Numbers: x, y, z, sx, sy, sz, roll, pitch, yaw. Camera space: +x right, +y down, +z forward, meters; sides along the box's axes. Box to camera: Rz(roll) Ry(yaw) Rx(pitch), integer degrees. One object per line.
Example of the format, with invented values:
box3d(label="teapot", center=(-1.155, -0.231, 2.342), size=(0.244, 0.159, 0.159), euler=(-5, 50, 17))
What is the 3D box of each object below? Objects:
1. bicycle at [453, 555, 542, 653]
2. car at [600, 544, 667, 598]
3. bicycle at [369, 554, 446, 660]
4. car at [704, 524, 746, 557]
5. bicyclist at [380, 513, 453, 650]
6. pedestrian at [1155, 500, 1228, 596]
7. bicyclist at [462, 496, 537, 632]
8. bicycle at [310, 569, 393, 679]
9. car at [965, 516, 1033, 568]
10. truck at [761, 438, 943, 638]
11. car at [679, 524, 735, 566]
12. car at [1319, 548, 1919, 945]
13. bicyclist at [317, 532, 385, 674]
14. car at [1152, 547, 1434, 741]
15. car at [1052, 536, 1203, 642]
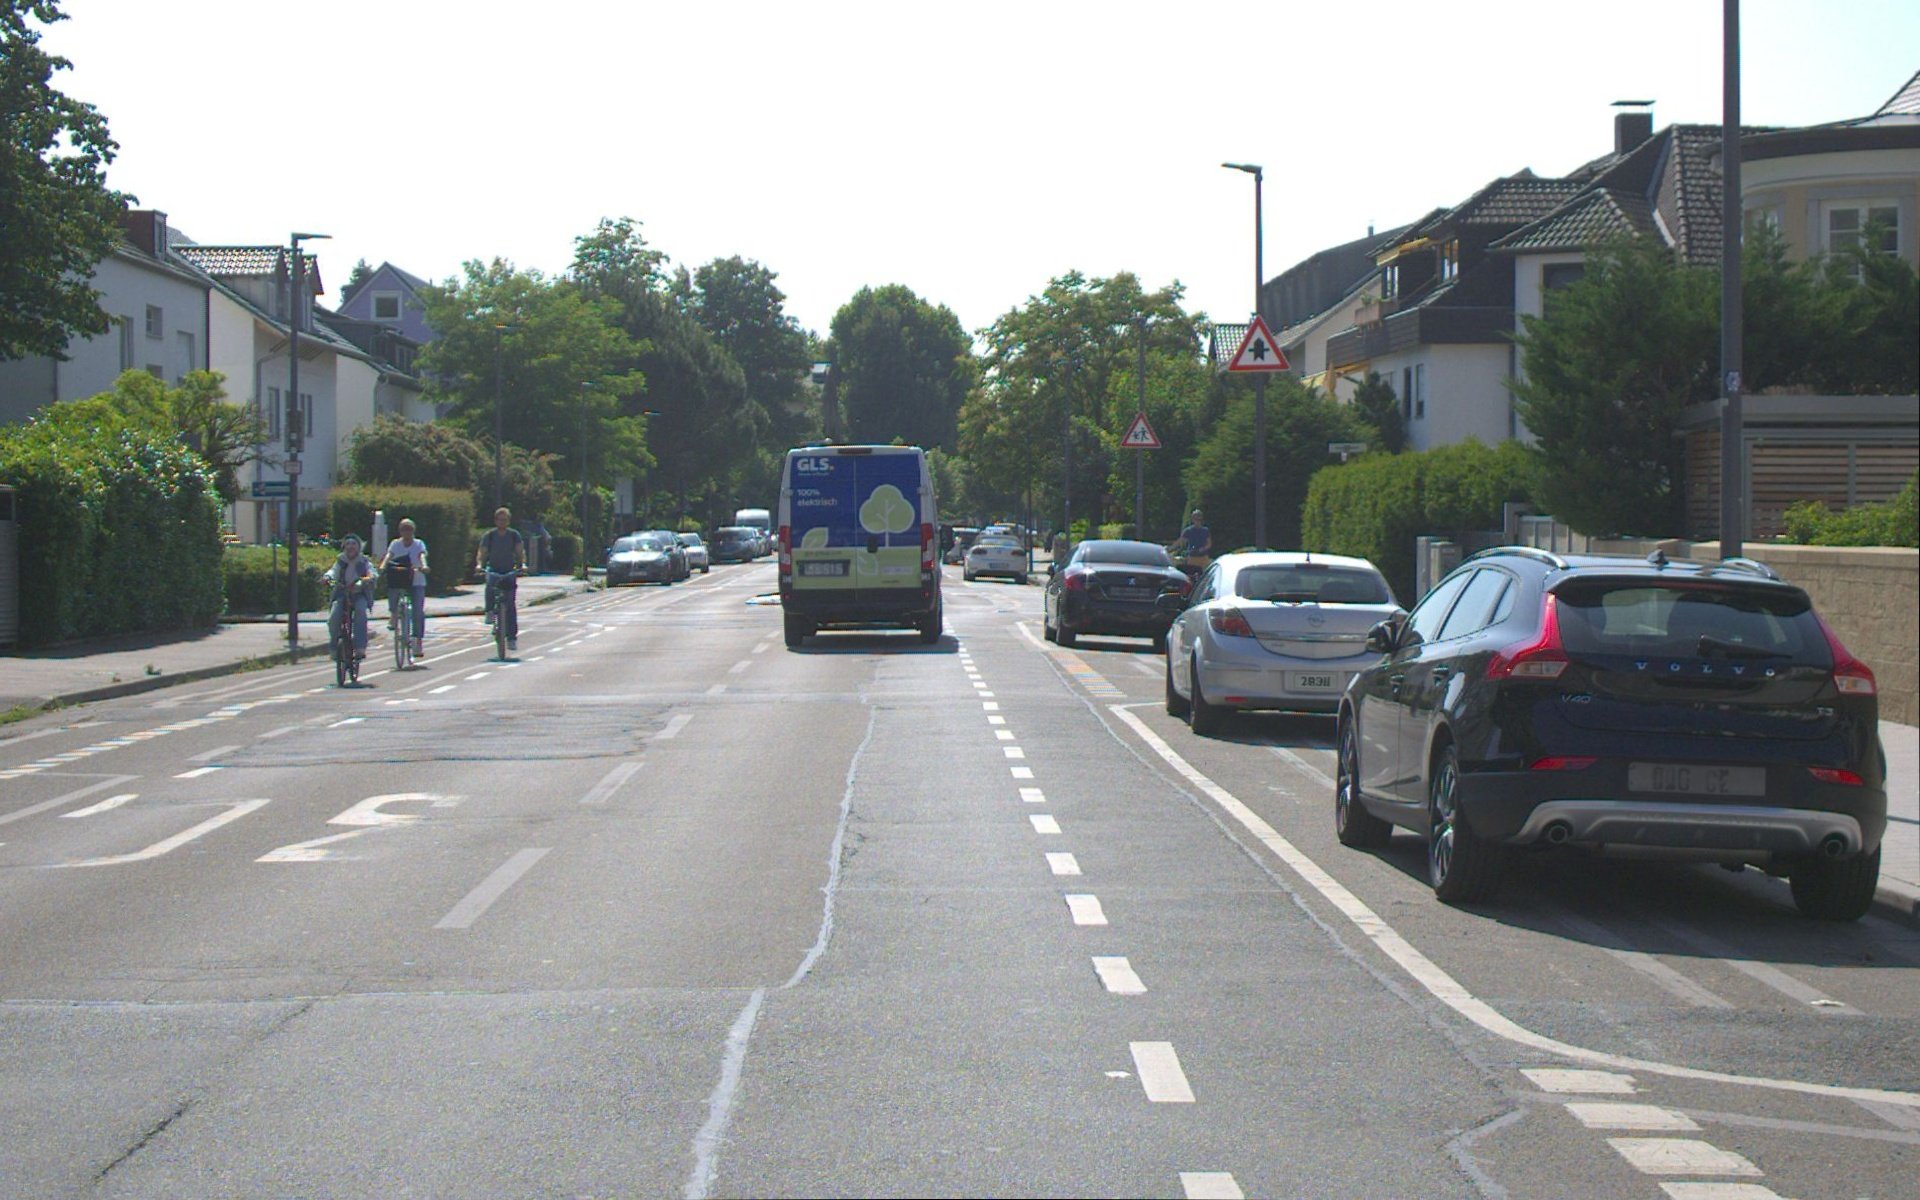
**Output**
box3d(label="bicycle", center=(-5.809, 0.037, 43.288), size=(0.782, 1.162, 2.420), euler=(-2, 1, -1))
box3d(label="car", center=(-9.276, -0.849, 97.938), size=(1.785, 1.435, 4.156), euler=(-2, 2, -4))
box3d(label="bicycle", center=(-6.499, 0.069, 40.527), size=(0.559, 1.181, 2.036), euler=(-2, 1, -1))
box3d(label="car", center=(-10.624, -2.703, 155.651), size=(1.780, 1.455, 4.087), euler=(-1, 1, -2))
box3d(label="bicyclist", center=(-6.422, -0.223, 40.653), size=(0.676, 1.575, 0.859), euler=(-2, 1, -1))
box3d(label="pedestrian", center=(4.576, -1.030, 68.040), size=(0.899, 1.866, 1.189), euler=(-1, 1, -34))
box3d(label="bicyclist", center=(-5.808, -0.459, 43.426), size=(0.749, 1.662, 1.022), euler=(-2, 1, -1))
box3d(label="bicycle", center=(-6.352, 0.241, 35.915), size=(0.600, 1.101, 1.346), euler=(-2, 1, -1))
box3d(label="car", center=(1.138, -1.717, 101.434), size=(1.740, 1.397, 4.074), euler=(2, 2, -2))
box3d(label="truck", center=(-1.390, -0.830, 46.191), size=(2.272, 2.562, 4.392), euler=(0, 1, 1))
box3d(label="car", center=(-8.902, -1.937, 121.335), size=(1.785, 1.435, 4.001), euler=(-1, 1, -2))
box3d(label="car", center=(2.768, 0.536, 15.361), size=(1.722, 1.444, 4.169), euler=(3, 1, -2))
box3d(label="bicyclist", center=(-6.357, 0.025, 35.897), size=(0.490, 1.449, 0.964), euler=(-2, 1, -1))
box3d(label="car", center=(2.559, 0.315, 27.249), size=(1.736, 1.324, 4.076), euler=(3, 0, 0))
box3d(label="car", center=(2.211, -0.185, 46.344), size=(1.736, 1.324, 4.260), euler=(-1, 1, -1))
